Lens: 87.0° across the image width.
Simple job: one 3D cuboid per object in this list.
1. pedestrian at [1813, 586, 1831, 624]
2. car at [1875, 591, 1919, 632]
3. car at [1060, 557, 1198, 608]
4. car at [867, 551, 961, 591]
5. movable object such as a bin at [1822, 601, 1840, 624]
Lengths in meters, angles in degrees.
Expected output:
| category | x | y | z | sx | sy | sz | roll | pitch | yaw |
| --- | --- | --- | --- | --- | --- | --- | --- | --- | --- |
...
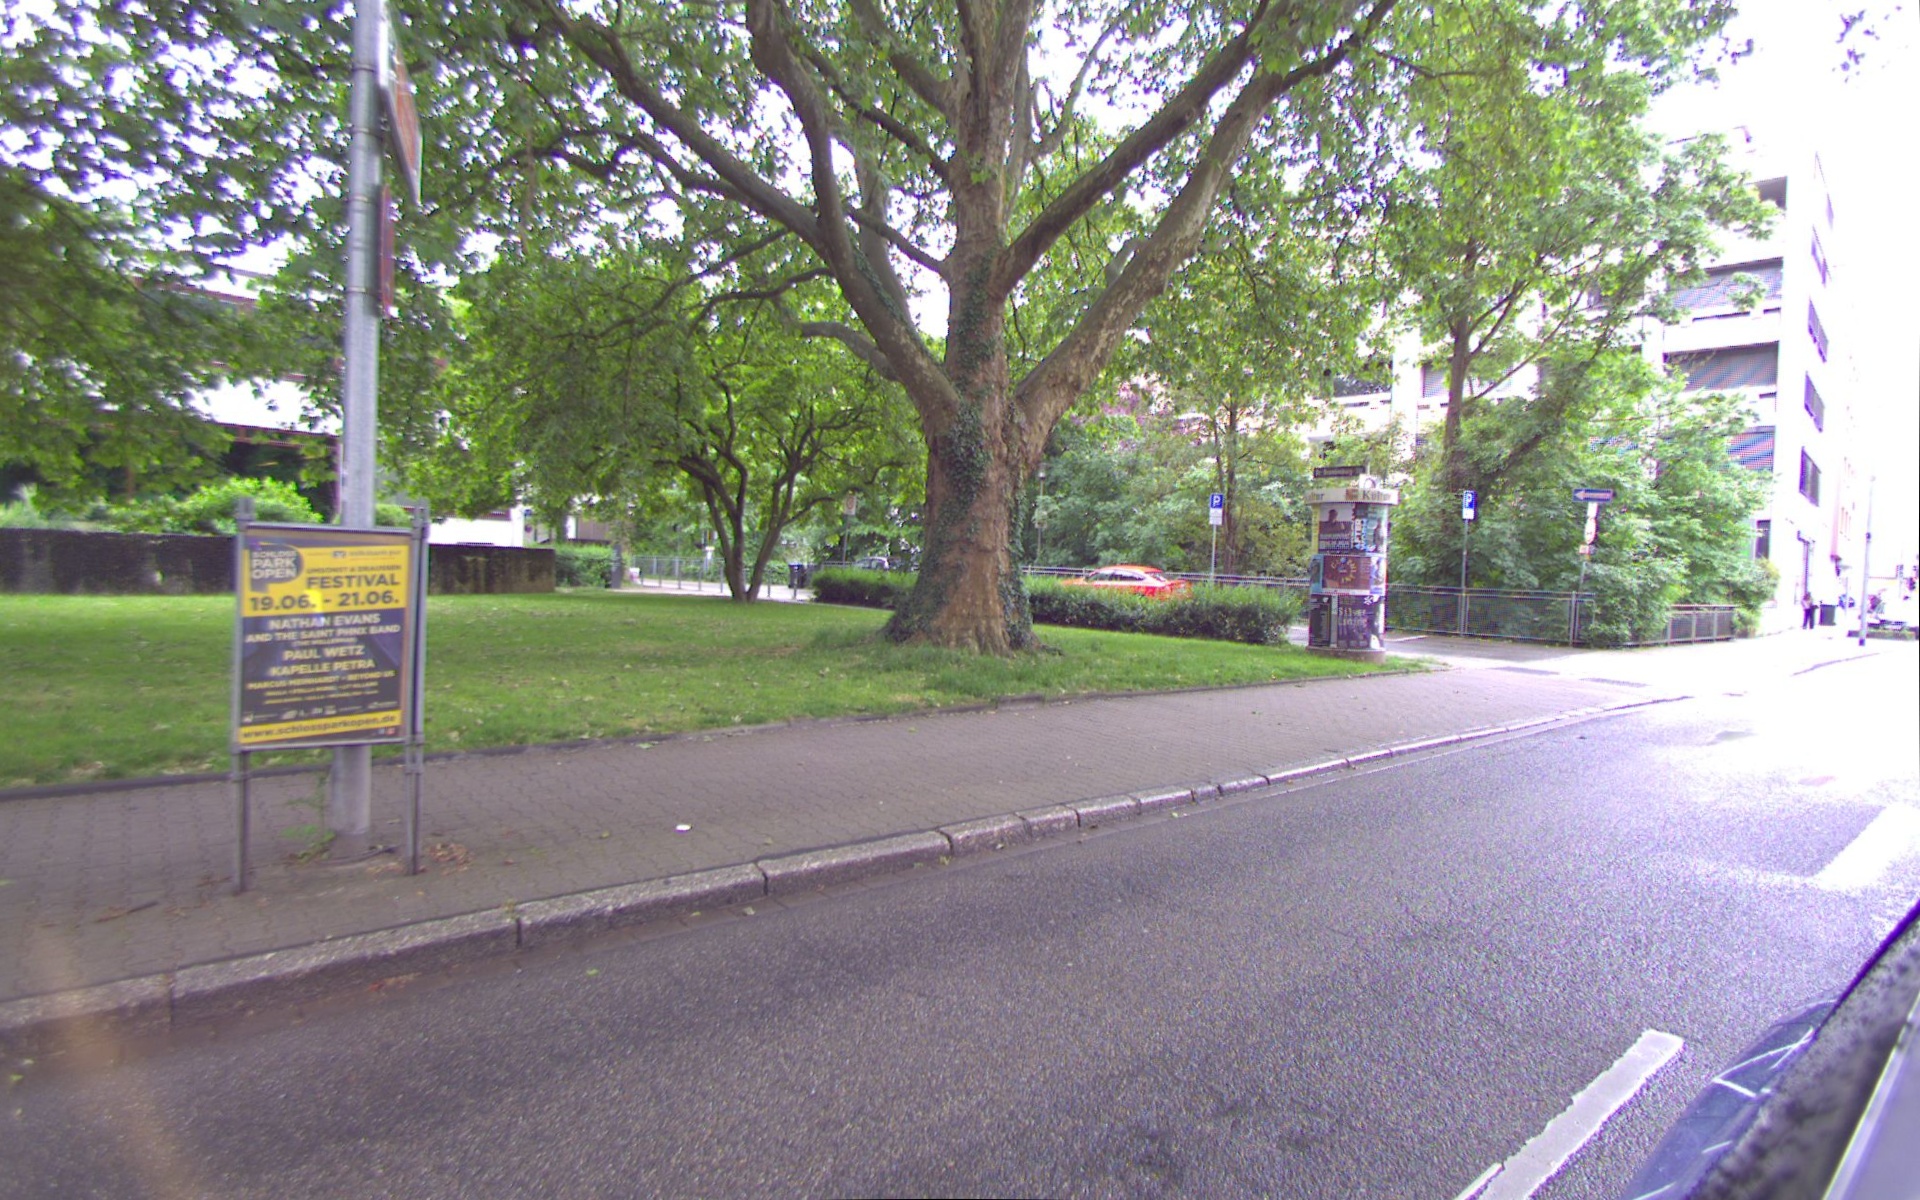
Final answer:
| category | x | y | z | sx | sy | sz | roll | pitch | yaw |
| --- | --- | --- | --- | --- | --- | --- | --- | --- | --- |
| pedestrian | 35.303 | 0.188 | 41.443 | 0.473 | 1.549 | 0.480 | 0 | 0 | -41 |
| car | 37.417 | 0.451 | 39.745 | 3.617 | 1.449 | 1.681 | 0 | 6 | -41 |
| car | 4.862 | -0.542 | 29.509 | 1.551 | 1.294 | 3.784 | -1 | 4 | -44 |
| car | -1.706 | -1.069 | 36.577 | 3.460 | 1.294 | 1.426 | 5 | 4 | 45 |
| movable object such as a bin | 41.924 | 0.615 | 48.718 | 0.287 | 1.054 | 0.556 | 0 | 3 | -41 |
